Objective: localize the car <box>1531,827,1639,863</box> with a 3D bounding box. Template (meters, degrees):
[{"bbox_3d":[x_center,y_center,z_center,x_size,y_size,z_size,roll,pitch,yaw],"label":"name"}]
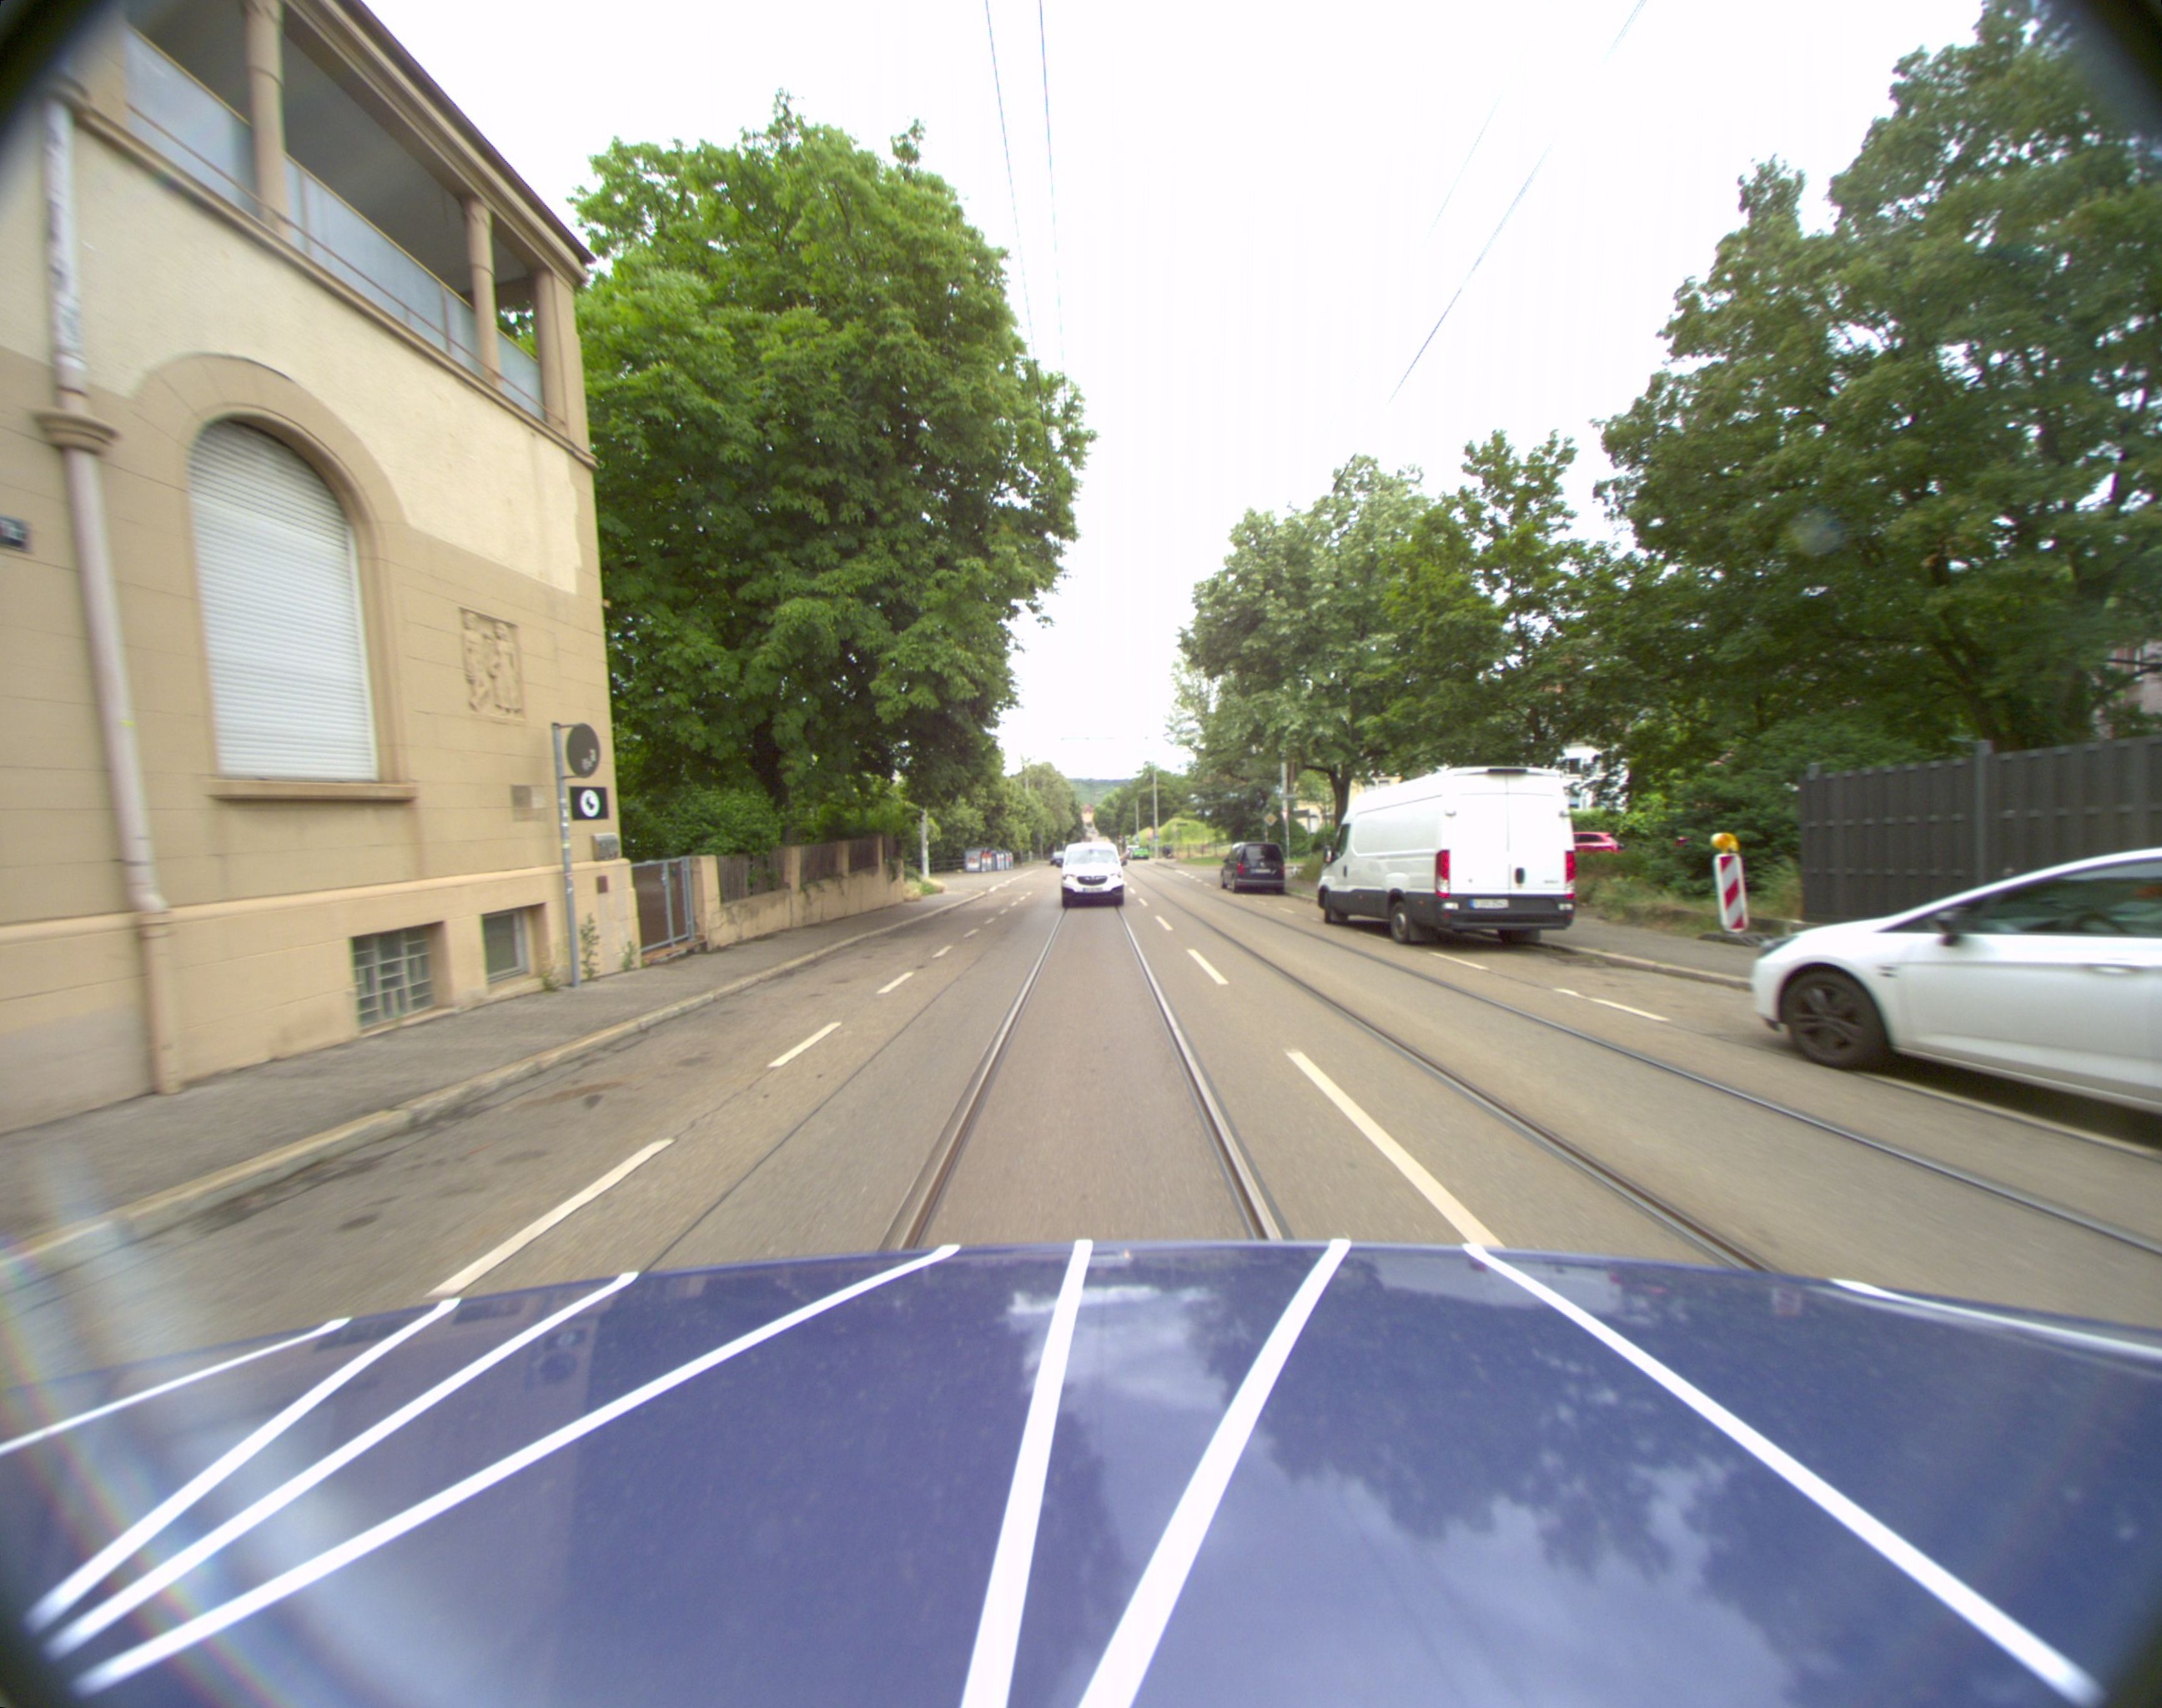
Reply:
[{"bbox_3d":[22.430,-0.378,33.911,1.753,1.469,3.604,-4,1,-36],"label":"car"}]

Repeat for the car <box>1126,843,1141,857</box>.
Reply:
[{"bbox_3d":[7.391,-0.592,108.181,1.901,1.935,4.290,0,1,1],"label":"car"}]

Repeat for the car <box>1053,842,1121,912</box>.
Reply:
[{"bbox_3d":[0.286,0.592,22.788,1.759,1.824,4.448,-2,1,3],"label":"car"}]

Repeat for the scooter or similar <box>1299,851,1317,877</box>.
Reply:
[{"bbox_3d":[10.319,0.472,34.551,0.312,1.139,1.718,-2,-1,1],"label":"scooter or similar"}]

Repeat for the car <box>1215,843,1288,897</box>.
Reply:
[{"bbox_3d":[6.172,0.499,27.993,1.766,1.765,4.668,1,1,2],"label":"car"}]

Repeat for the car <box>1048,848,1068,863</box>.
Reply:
[{"bbox_3d":[-2.442,0.160,82.256,1.863,1.434,4.388,-5,1,1],"label":"car"}]

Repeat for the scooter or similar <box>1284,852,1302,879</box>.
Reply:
[{"bbox_3d":[9.566,0.516,34.331,0.312,1.139,1.718,-2,-1,1],"label":"scooter or similar"}]

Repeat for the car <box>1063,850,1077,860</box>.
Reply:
[{"bbox_3d":[-1.597,0.075,110.826,1.822,1.345,3.940,-4,0,3],"label":"car"}]

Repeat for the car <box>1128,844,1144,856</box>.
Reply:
[{"bbox_3d":[7.435,-0.541,102.865,1.856,1.485,3.948,0,1,1],"label":"car"}]

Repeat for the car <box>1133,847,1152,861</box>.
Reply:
[{"bbox_3d":[7.172,0.023,88.606,1.856,1.532,3.948,-2,0,1],"label":"car"}]

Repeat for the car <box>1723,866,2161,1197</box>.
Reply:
[{"bbox_3d":[5.578,0.808,3.435,1.723,1.395,4.313,1,0,1],"label":"car"}]

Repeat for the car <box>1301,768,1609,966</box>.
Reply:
[{"bbox_3d":[5.844,0.162,13.154,2.164,2.592,6.218,1,0,-1],"label":"car"}]
